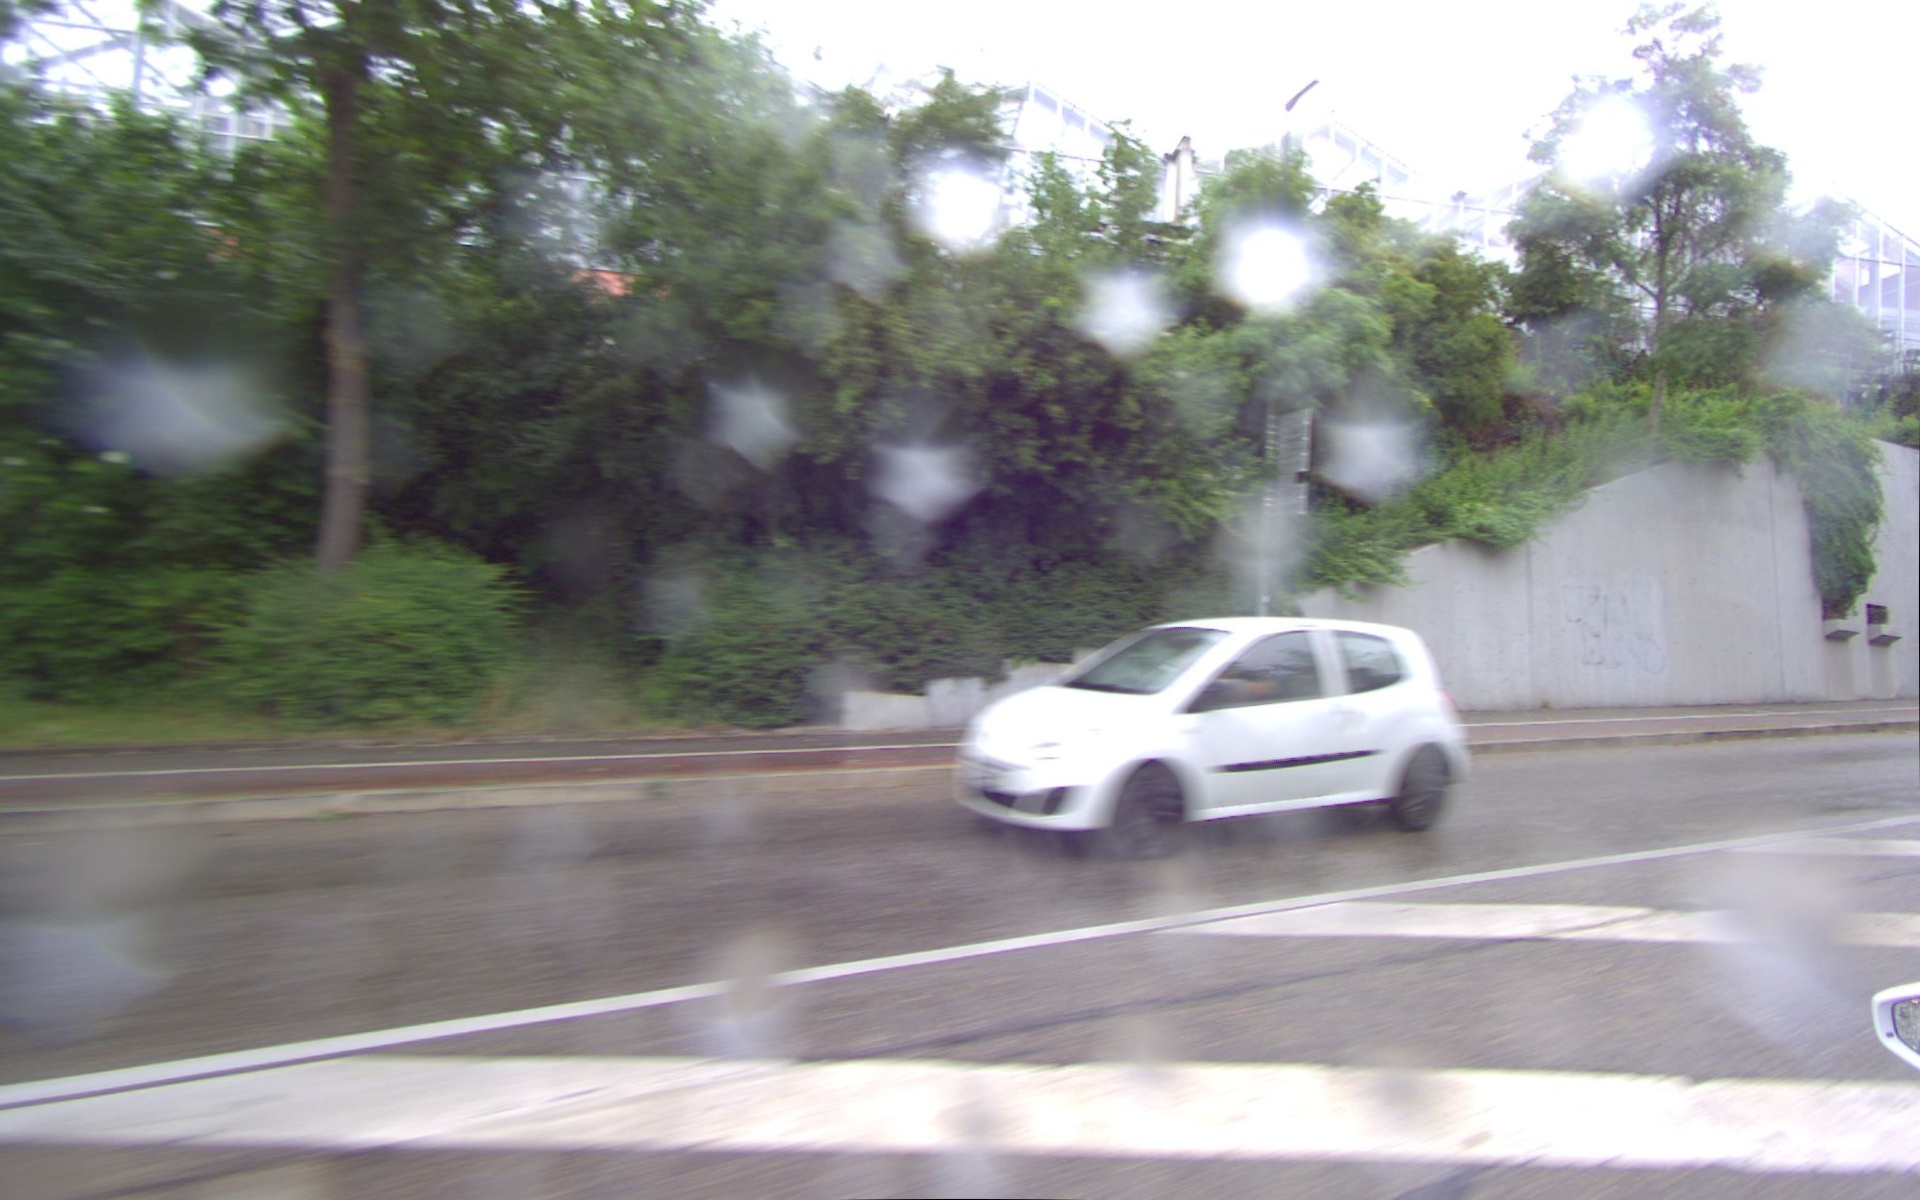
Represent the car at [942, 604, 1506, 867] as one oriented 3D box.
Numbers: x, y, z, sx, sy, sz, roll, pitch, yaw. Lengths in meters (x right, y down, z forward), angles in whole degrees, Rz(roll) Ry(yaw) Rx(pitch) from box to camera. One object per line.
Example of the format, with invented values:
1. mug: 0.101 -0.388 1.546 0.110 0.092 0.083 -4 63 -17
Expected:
1. car: 1.899 0.826 7.100 3.764 1.467 1.508 2 -2 -25
